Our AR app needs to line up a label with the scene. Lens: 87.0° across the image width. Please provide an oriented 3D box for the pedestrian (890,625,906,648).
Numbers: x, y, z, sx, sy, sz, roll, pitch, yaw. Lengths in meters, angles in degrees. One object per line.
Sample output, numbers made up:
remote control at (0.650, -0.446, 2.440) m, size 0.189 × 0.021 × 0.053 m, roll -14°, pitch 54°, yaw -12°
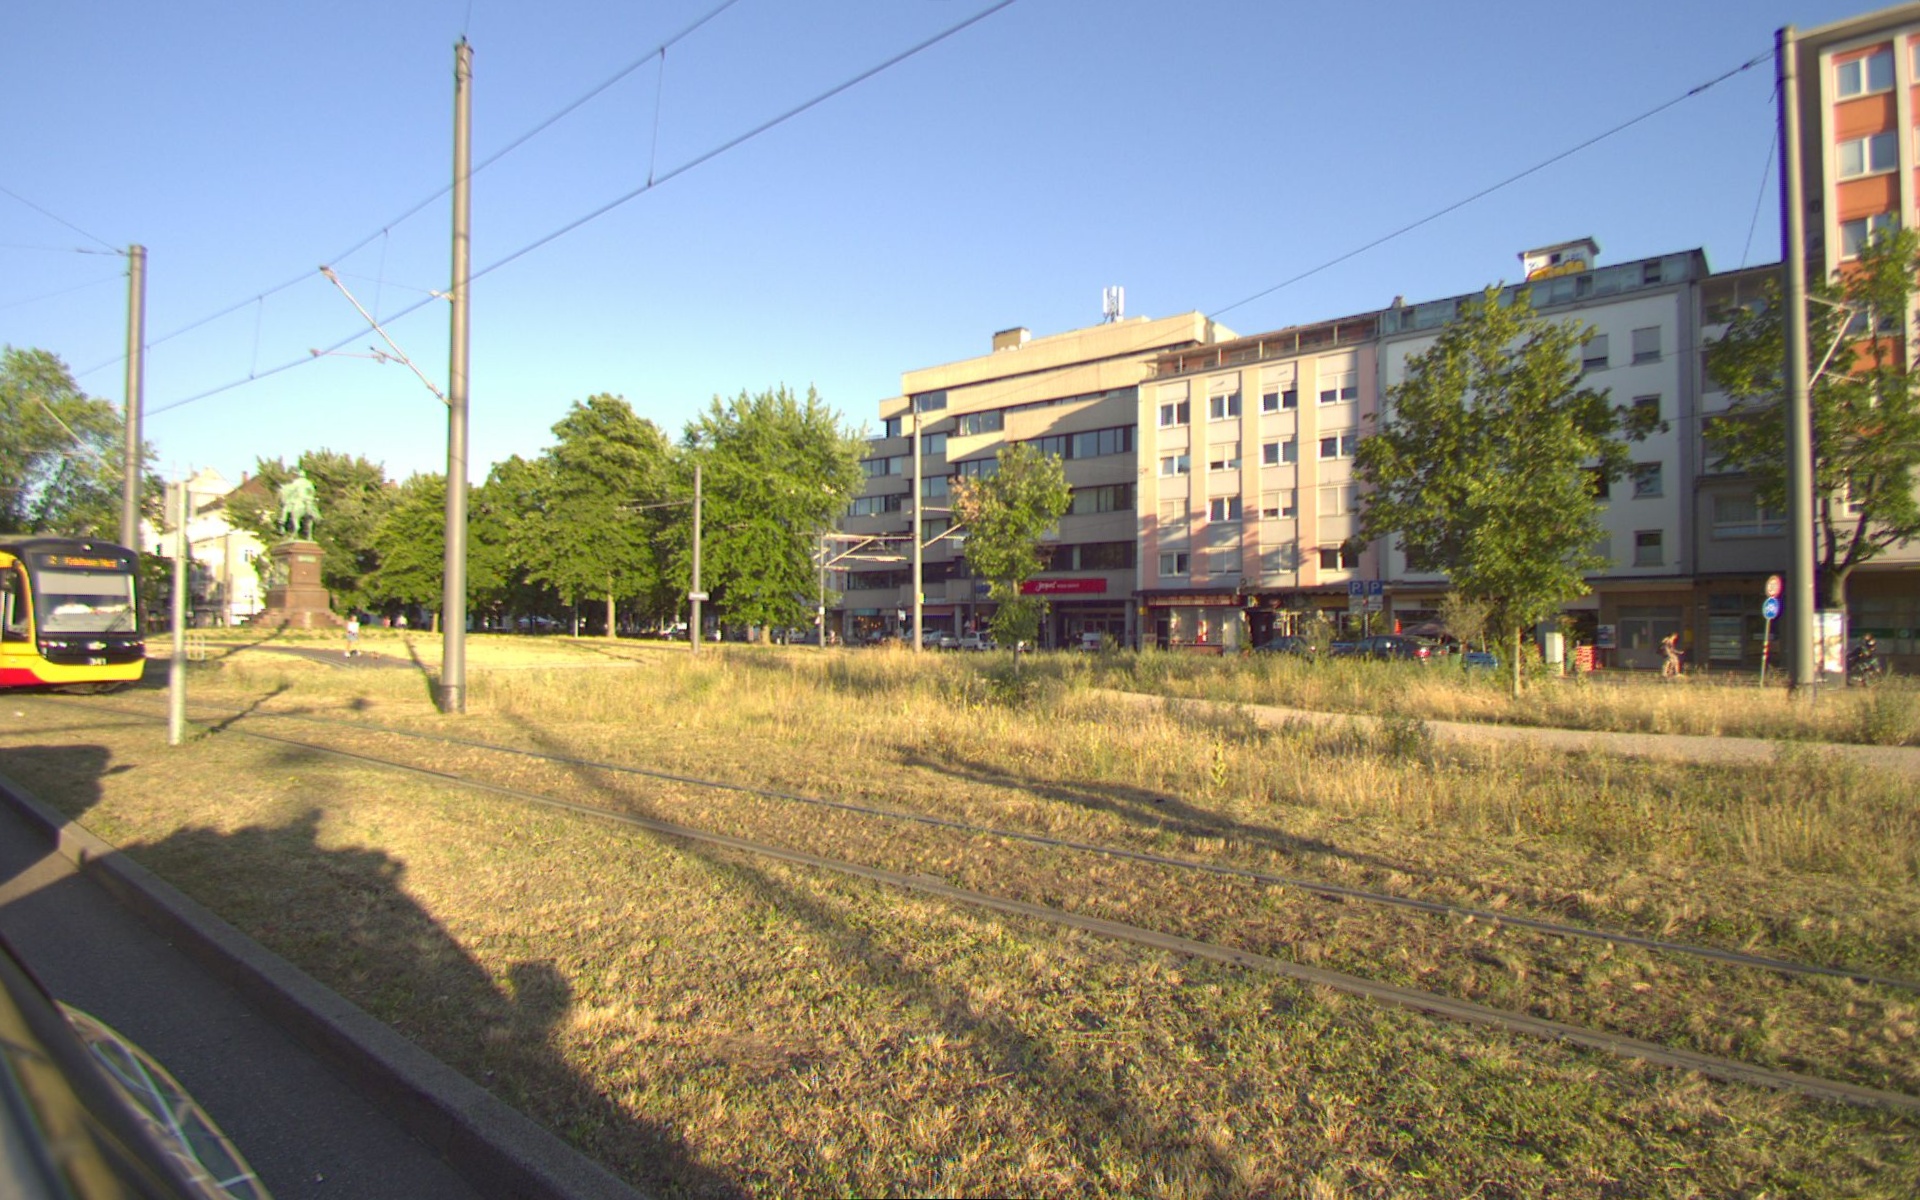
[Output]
pedestrian at (-5.504, 3.211, 89.482) m, size 0.892 × 2.051 × 1.123 m, roll -2°, pitch -2°, yaw 43°

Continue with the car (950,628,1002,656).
car at (1.101, 2.939, 71.524) m, size 1.965 × 1.893 × 4.013 m, roll 1°, pitch -2°, yaw -27°

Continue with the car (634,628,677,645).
car at (-32.220, 3.836, 107.049) m, size 3.933 × 1.769 × 1.973 m, roll 1°, pitch -2°, yaw -33°

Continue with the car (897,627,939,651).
car at (-3.454, 3.128, 81.970) m, size 1.965 × 1.951 × 4.013 m, roll 1°, pitch -2°, yaw -25°

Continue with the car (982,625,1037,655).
car at (3.208, 2.612, 66.942) m, size 1.892 × 1.878 × 4.013 m, roll 1°, pitch -2°, yaw -27°

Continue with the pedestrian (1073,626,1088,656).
pedestrian at (7.656, 2.598, 64.351) m, size 0.700 × 1.949 × 0.683 m, roll -2°, pitch -2°, yaw 41°

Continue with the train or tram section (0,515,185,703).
train or tram section at (-23.984, 0.294, 24.548) m, size 13.152 × 3.767 × 2.891 m, roll -1°, pitch -2°, yaw 27°

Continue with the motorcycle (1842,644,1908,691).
motorcycle at (26.599, 1.957, 29.433) m, size 1.390 × 1.328 × 0.376 m, roll -2°, pitch -2°, yaw 43°

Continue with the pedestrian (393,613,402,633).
pedestrian at (-48.438, 1.953, 87.157) m, size 0.512 × 1.707 × 0.528 m, roll -1°, pitch -2°, yaw 41°

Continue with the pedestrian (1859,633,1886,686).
pedestrian at (31.356, 2.028, 34.784) m, size 0.630 × 1.782 × 0.589 m, roll -1°, pitch -2°, yaw 41°

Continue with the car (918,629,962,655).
car at (-1.528, 3.141, 77.060) m, size 1.965 × 1.893 × 4.013 m, roll 1°, pitch -2°, yaw -23°

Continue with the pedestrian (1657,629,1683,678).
pedestrian at (26.348, 1.978, 37.532) m, size 0.704 × 1.806 × 0.587 m, roll -2°, pitch -2°, yaw 41°

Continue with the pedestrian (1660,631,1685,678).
pedestrian at (26.761, 2.035, 38.021) m, size 0.698 × 1.764 × 0.642 m, roll -2°, pitch -2°, yaw 41°

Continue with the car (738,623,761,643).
car at (-23.600, 3.665, 113.339) m, size 1.966 × 2.029 × 4.012 m, roll -1°, pitch 0°, yaw -18°

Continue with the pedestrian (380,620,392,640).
pedestrian at (-49.134, 2.569, 86.617) m, size 0.635 × 1.682 × 0.702 m, roll -1°, pitch -2°, yaw 41°

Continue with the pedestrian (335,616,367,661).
pedestrian at (-24.131, 1.515, 40.100) m, size 0.797 × 1.741 × 0.880 m, roll -2°, pitch -2°, yaw 41°

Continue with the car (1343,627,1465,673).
car at (17.266, 1.917, 39.523) m, size 1.965 × 1.697 × 4.012 m, roll 1°, pitch -2°, yaw -28°
